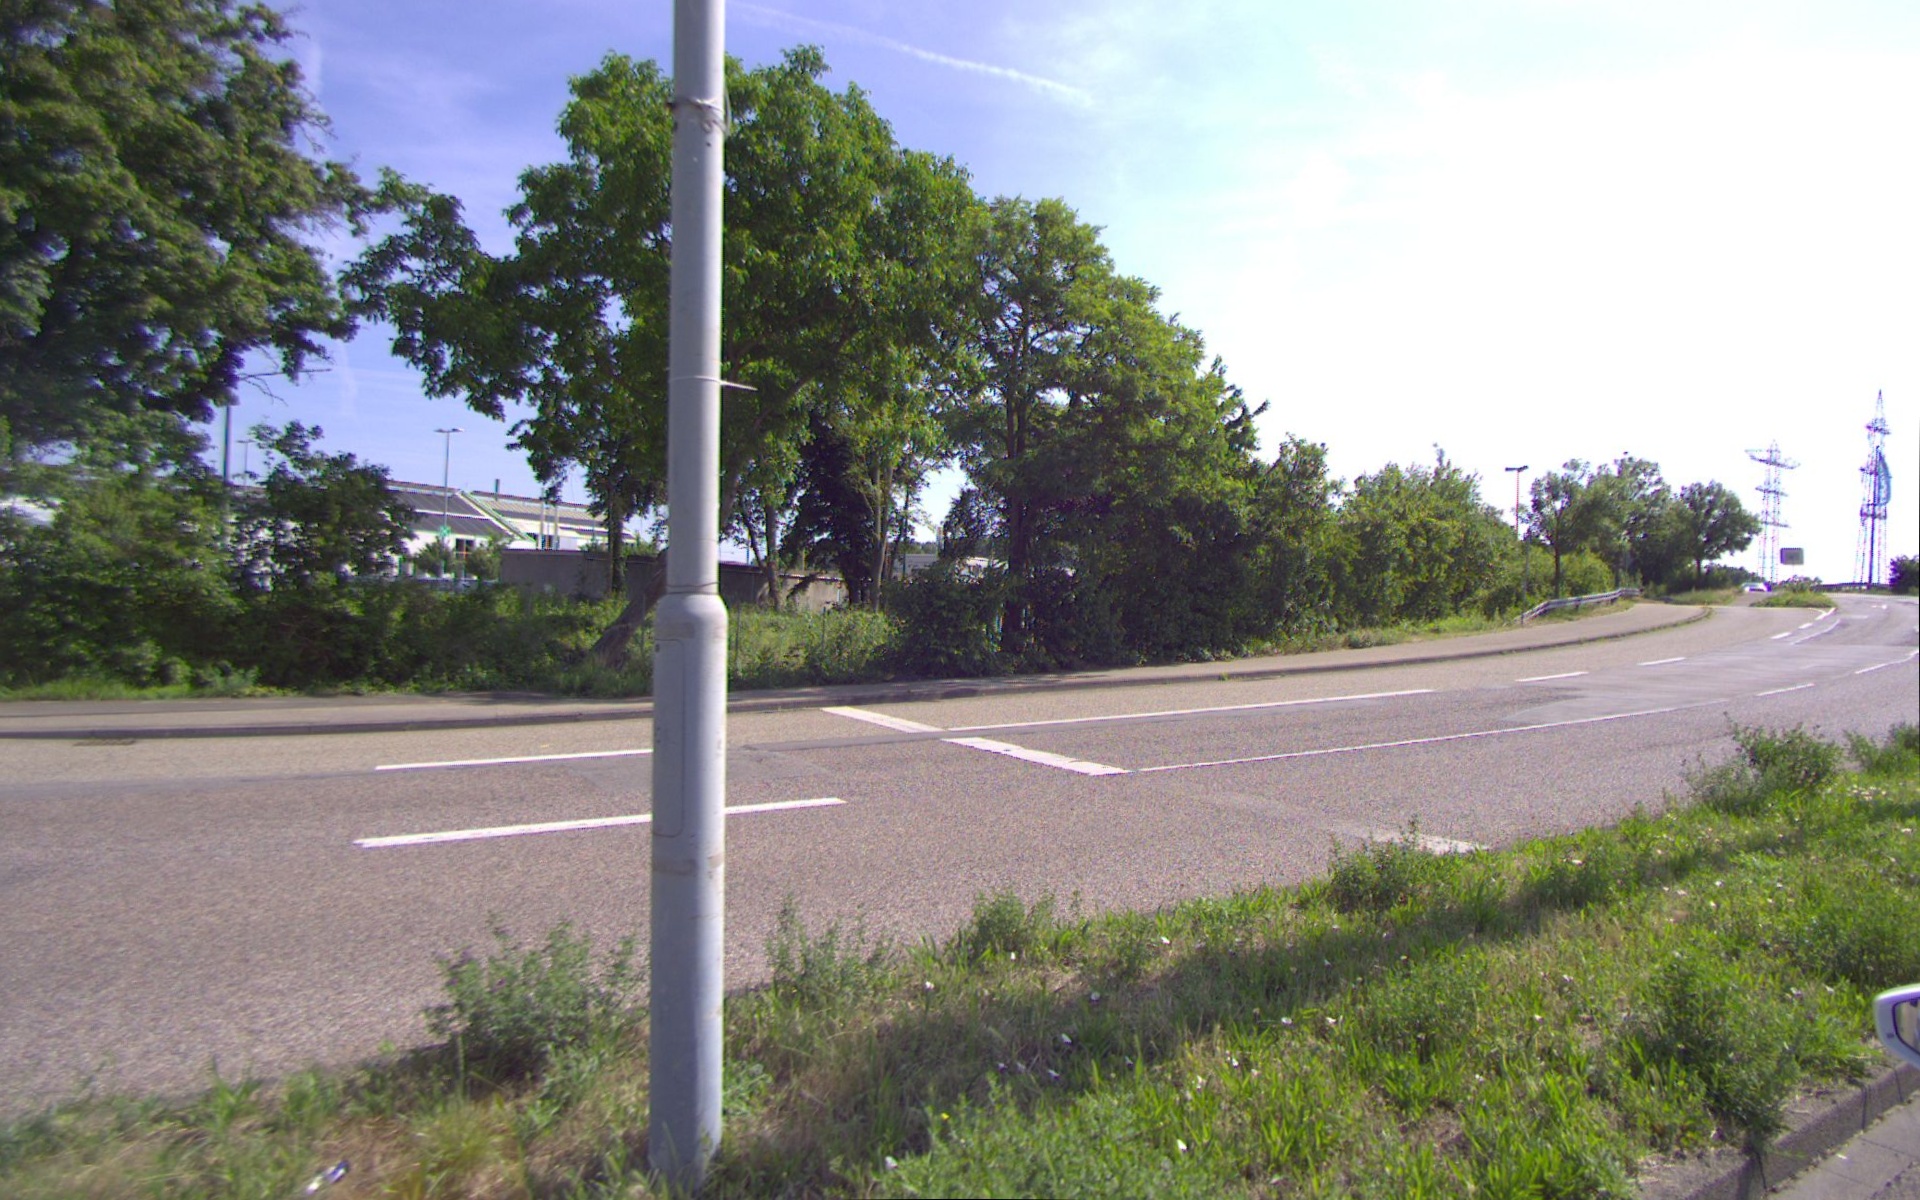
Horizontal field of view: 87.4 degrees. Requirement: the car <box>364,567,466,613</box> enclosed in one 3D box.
[{"bbox_3d":[-19.200,-0.358,35.332,3.939,1.417,1.794,3,2,40],"label":"car"}]
